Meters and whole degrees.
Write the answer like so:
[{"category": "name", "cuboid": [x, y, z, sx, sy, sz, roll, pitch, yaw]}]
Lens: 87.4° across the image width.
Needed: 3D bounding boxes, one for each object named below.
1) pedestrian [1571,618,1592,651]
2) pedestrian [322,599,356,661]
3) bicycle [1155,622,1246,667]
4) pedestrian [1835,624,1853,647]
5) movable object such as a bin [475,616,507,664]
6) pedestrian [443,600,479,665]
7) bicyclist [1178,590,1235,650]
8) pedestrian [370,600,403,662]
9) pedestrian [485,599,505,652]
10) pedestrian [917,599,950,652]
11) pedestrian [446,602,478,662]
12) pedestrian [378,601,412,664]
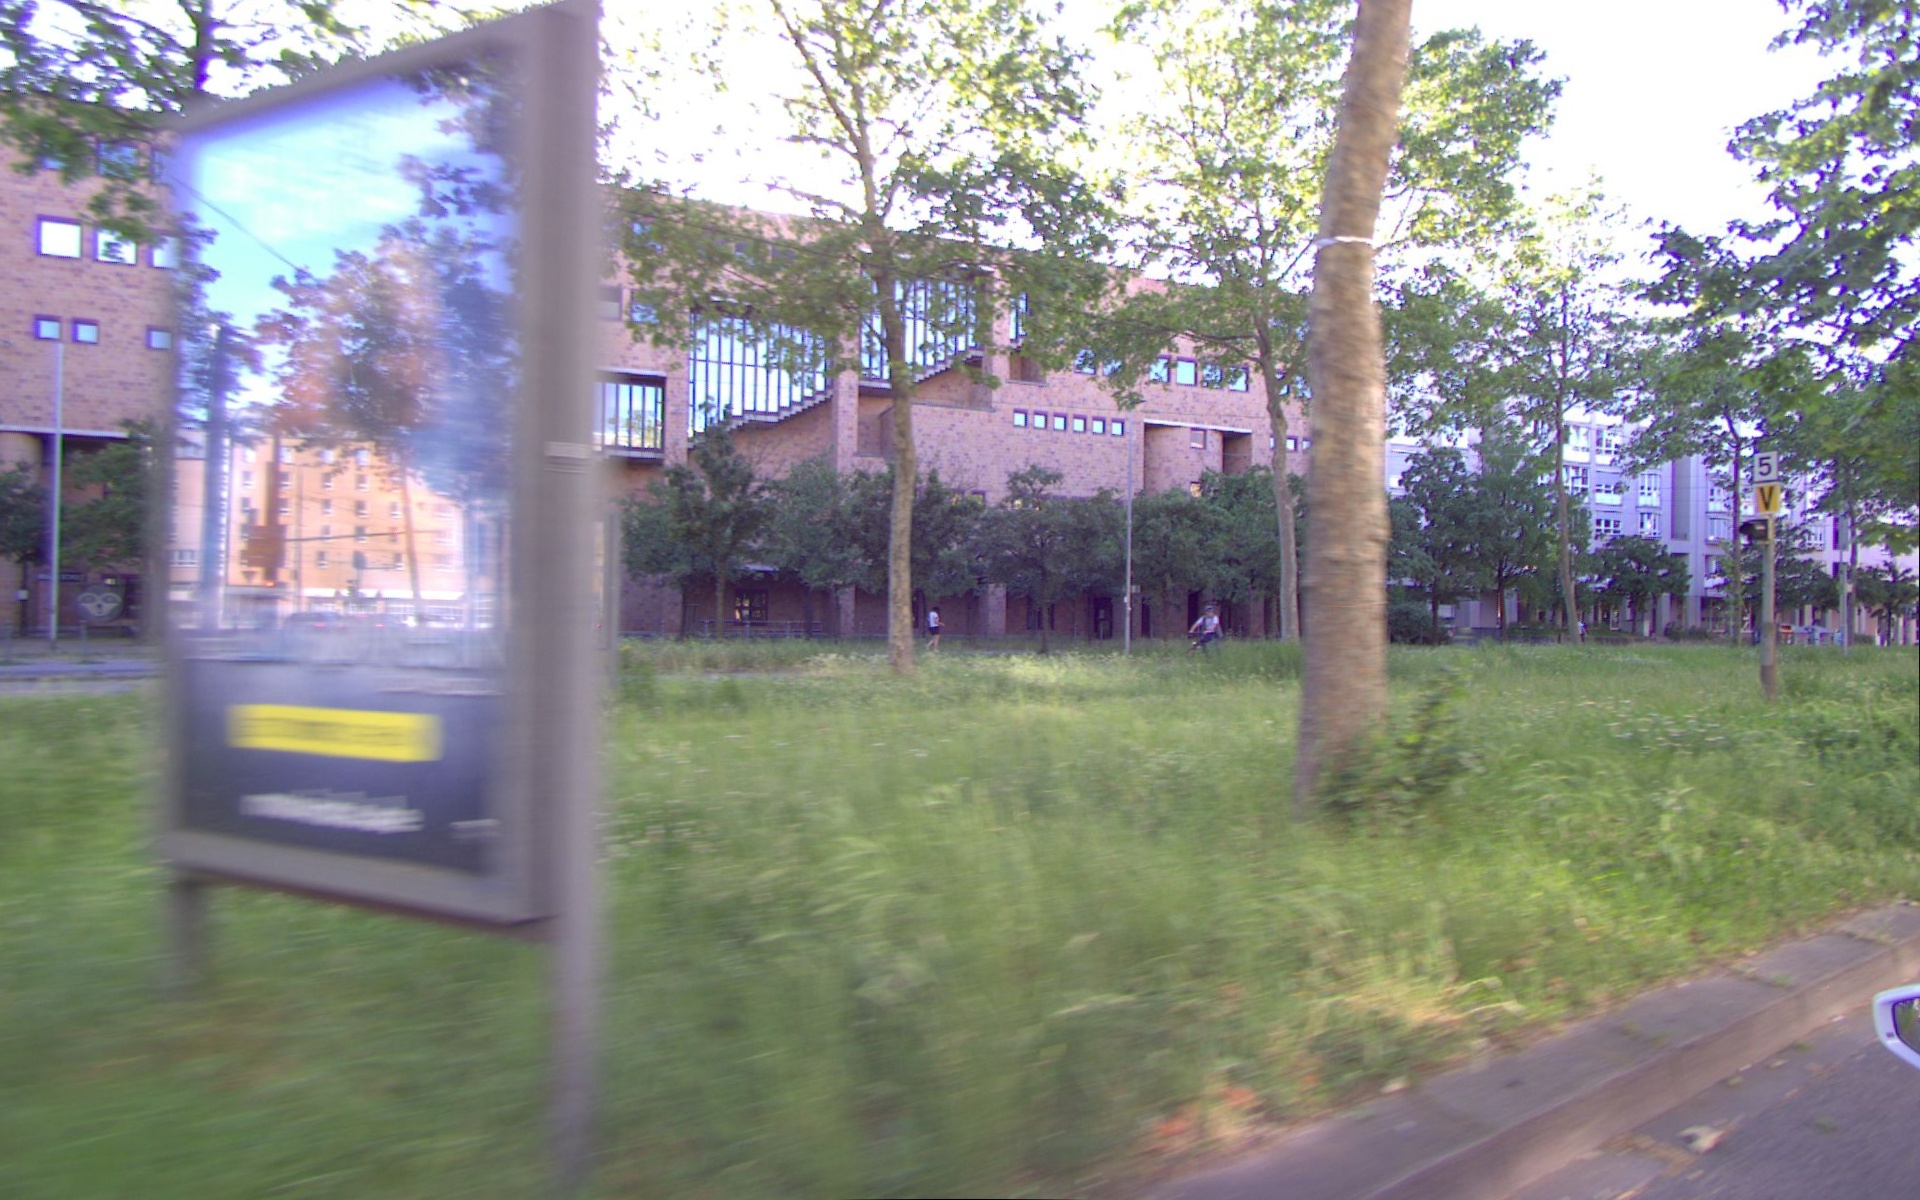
[{"category": "pedestrian", "cuboid": [33.973, 1.881, 54.928, 0.640, 1.763, 0.726, 1, 0, -27]}, {"category": "pedestrian", "cuboid": [-15.716, 0.754, 25.421, 0.644, 1.564, 0.415, 1, 0, -23]}, {"category": "bicycle", "cuboid": [6.507, 1.208, 27.130, 2.408, 1.141, 0.951, 2, -1, -31]}, {"category": "pedestrian", "cuboid": [65.242, 2.589, 74.119, 0.776, 1.660, 0.706, 1, 0, -20]}, {"category": "movable object such as a bin", "cuboid": [-12.982, 1.109, 27.814, 0.748, 1.296, 0.354, 1, 0, -32]}, {"category": "pedestrian", "cuboid": [-13.638, 0.871, 27.449, 0.788, 1.745, 0.660, 1, 0, -32]}, {"category": "bicyclist", "cuboid": [6.675, 0.542, 27.234, 1.195, 1.592, 0.936, 1, 0, -31]}, {"category": "pedestrian", "cuboid": [-15.477, 0.821, 27.114, 0.747, 1.638, 0.661, 1, 0, -30]}, {"category": "pedestrian", "cuboid": [-13.610, 0.742, 29.406, 0.458, 1.525, 0.480, 1, 0, -33]}, {"category": "pedestrian", "cuboid": [-0.940, 0.911, 35.838, 0.890, 1.856, 0.820, 1, 0, -30]}, {"category": "pedestrian", "cuboid": [-13.989, 0.895, 28.210, 0.748, 1.638, 0.660, 1, 0, -32]}, {"category": "pedestrian", "cuboid": [-14.914, 0.854, 26.523, 0.748, 1.638, 0.660, 1, 0, -32]}]
